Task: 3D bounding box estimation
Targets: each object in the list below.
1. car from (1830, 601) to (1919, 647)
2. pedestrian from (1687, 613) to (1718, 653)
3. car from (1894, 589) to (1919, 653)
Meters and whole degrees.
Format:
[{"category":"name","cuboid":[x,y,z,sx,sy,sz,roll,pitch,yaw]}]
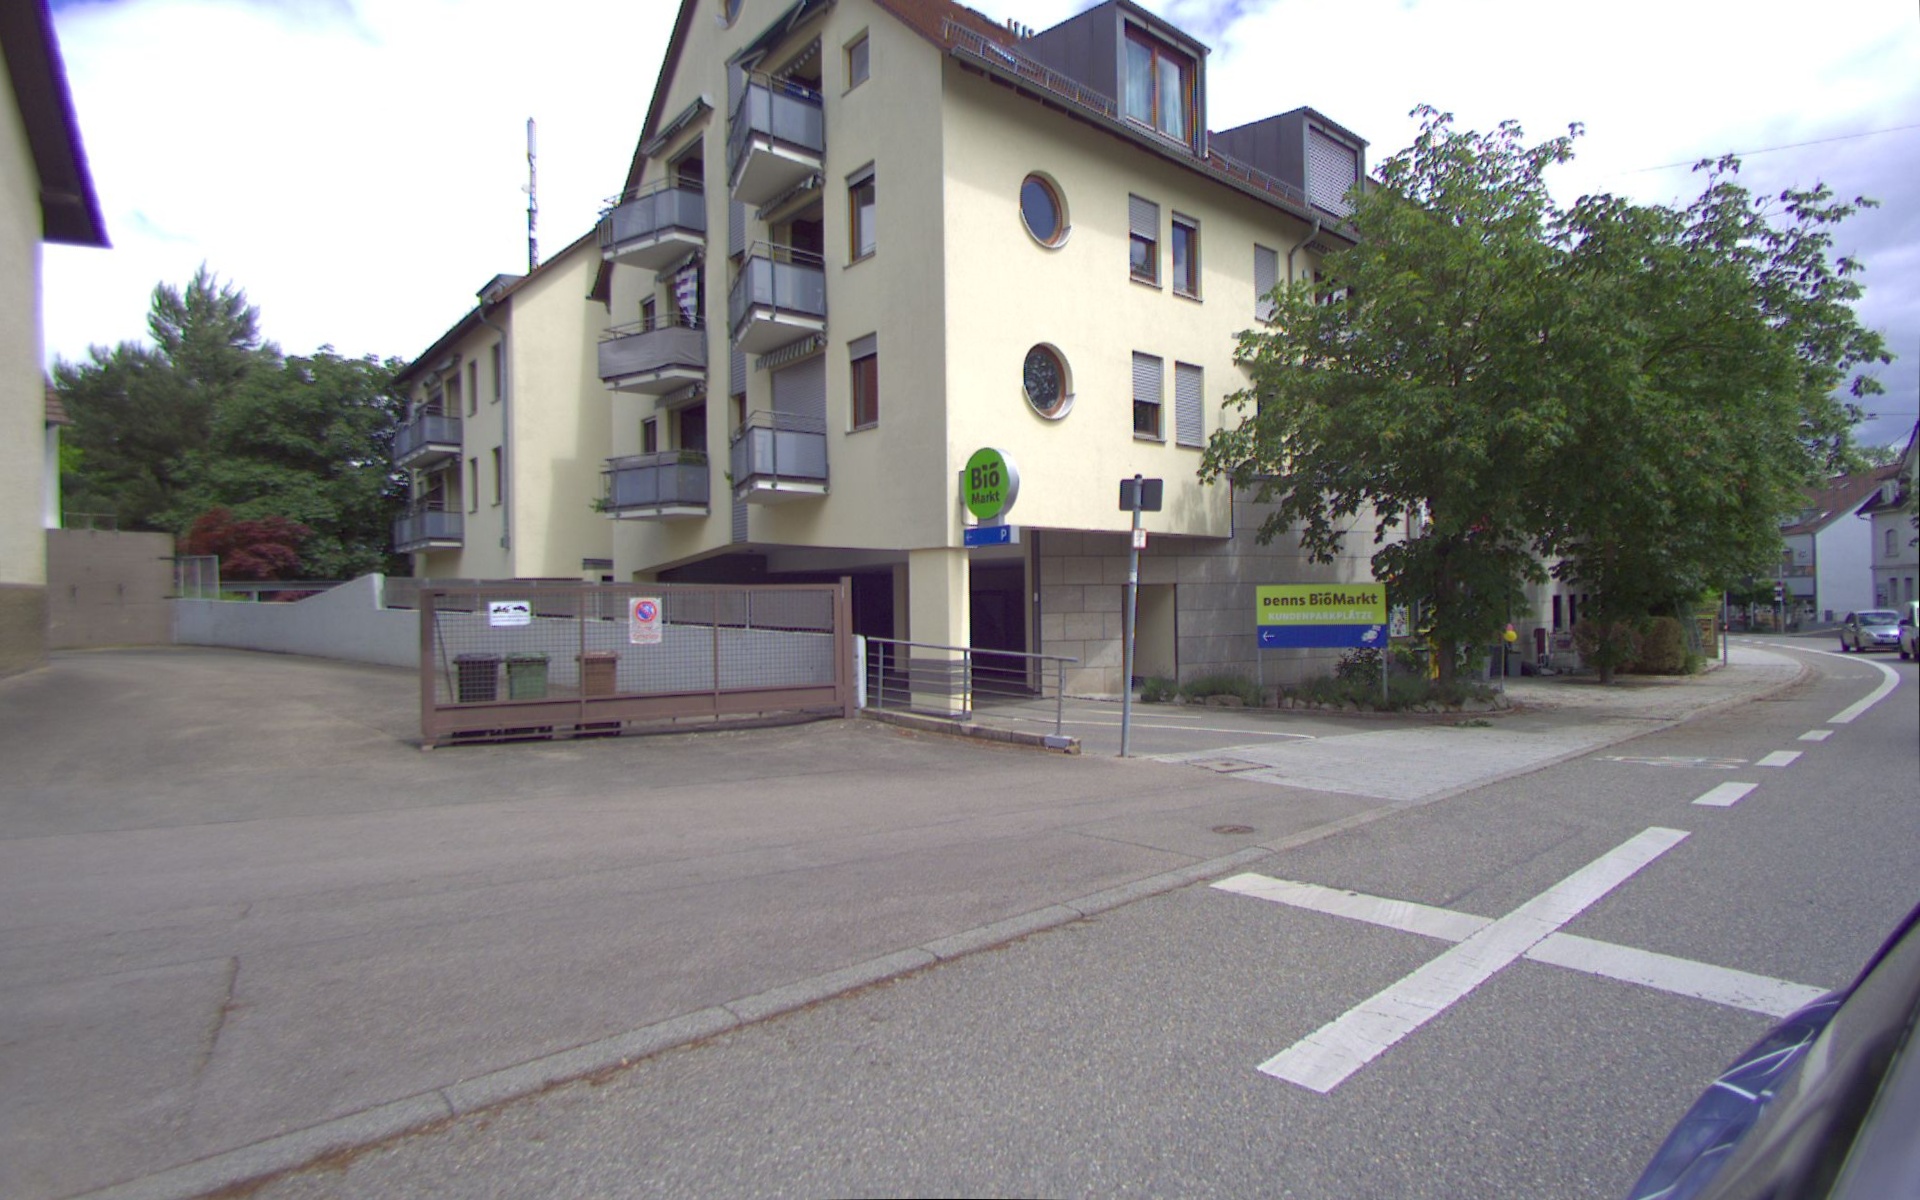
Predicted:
[{"category":"car","cuboid":[33.377,0.842,36.779,1.678,1.505,3.961,-4,-2,28]},{"category":"pedestrian","cuboid":[24.461,1.077,33.334,0.729,1.317,0.742,-2,-1,44]},{"category":"car","cuboid":[28.888,0.563,29.372,1.839,1.839,3.953,-4,-2,33]}]
